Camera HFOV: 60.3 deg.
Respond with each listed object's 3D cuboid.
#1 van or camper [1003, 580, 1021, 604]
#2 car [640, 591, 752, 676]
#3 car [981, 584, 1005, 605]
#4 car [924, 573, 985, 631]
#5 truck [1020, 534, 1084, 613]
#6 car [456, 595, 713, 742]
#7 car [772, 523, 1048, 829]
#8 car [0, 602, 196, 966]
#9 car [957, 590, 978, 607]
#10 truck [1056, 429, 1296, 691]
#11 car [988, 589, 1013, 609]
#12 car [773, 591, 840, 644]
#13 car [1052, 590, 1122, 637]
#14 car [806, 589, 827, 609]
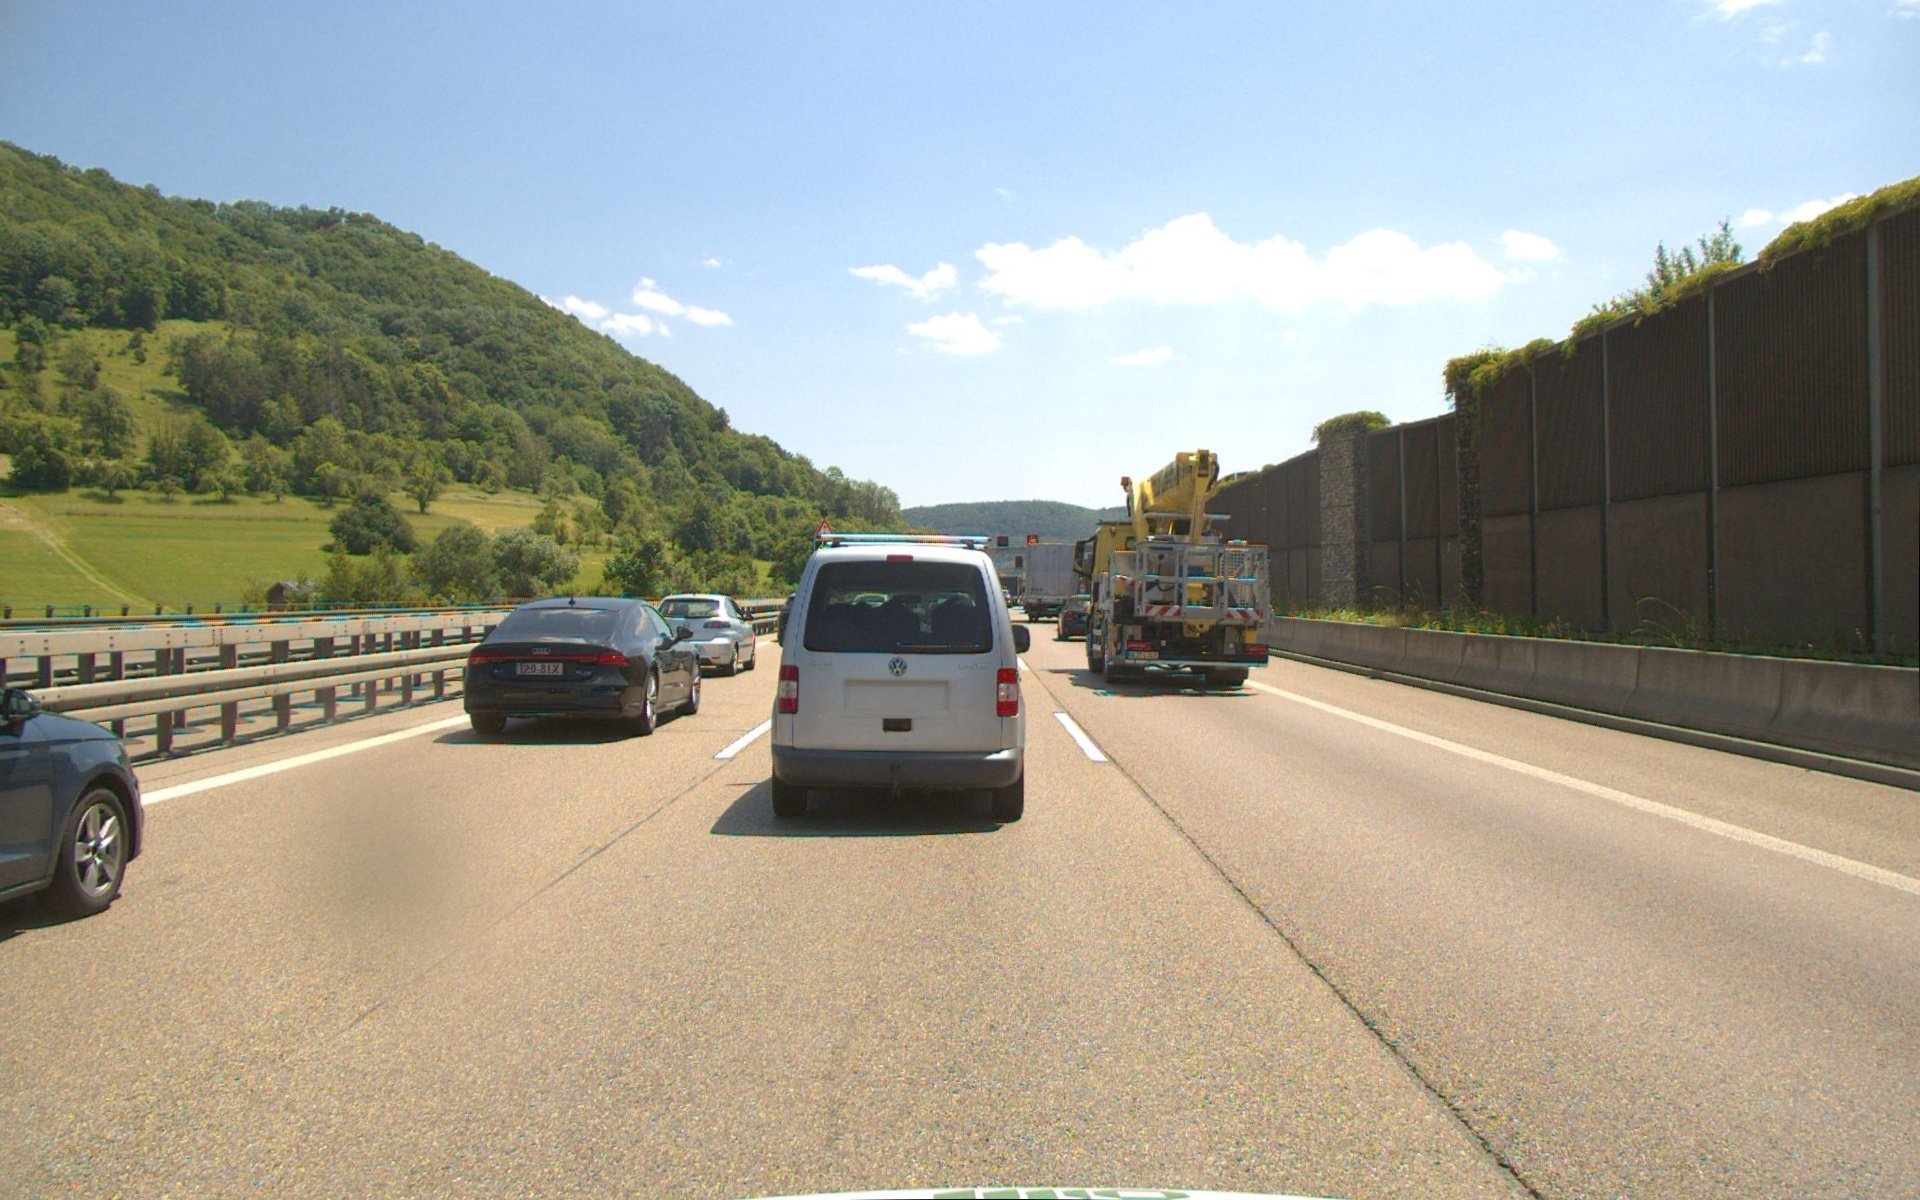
[{"bbox_3d":[6.662,-1.059,211.793,1.953,3.005,5.422,1,0,-1],"label":"van or camper"},{"bbox_3d":[-4.788,0.567,30.424,1.662,1.470,3.859,0,0,-3],"label":"car"},{"bbox_3d":[2.854,-0.503,144.616,1.953,1.779,3.999,1,0,-1],"label":"car"},{"bbox_3d":[-0.226,0.058,59.378,1.954,2.010,3.997,0,0,-4],"label":"car"},{"bbox_3d":[4.730,-1.293,86.173,2.880,3.890,8.236,1,0,0],"label":"truck"},{"bbox_3d":[-4.033,0.662,18.615,1.764,1.415,4.969,0,0,0],"label":"car"},{"bbox_3d":[-0.432,0.458,12.331,1.721,1.900,3.997,0,0,-4],"label":"car"},{"bbox_3d":[-4.585,0.732,6.147,1.654,1.413,4.000,0,0,0],"label":"car"},{"bbox_3d":[0.801,-0.201,183.508,2.072,1.859,3.997,1,0,-4],"label":"car"},{"bbox_3d":[3.578,-0.637,29.760,2.650,4.011,8.715,0,0,-4],"label":"truck"},{"bbox_3d":[3.914,-0.061,159.849,2.072,1.859,3.997,1,0,-4],"label":"car"},{"bbox_3d":[-4.581,0.499,49.737,1.887,1.525,3.997,1,0,-4],"label":"car"},{"bbox_3d":[4.112,0.416,54.038,1.751,1.484,3.768,0,0,-4],"label":"car"},{"bbox_3d":[-14.846,-0.142,171.255,1.953,2.049,3.999,0,0,-1],"label":"car"}]
